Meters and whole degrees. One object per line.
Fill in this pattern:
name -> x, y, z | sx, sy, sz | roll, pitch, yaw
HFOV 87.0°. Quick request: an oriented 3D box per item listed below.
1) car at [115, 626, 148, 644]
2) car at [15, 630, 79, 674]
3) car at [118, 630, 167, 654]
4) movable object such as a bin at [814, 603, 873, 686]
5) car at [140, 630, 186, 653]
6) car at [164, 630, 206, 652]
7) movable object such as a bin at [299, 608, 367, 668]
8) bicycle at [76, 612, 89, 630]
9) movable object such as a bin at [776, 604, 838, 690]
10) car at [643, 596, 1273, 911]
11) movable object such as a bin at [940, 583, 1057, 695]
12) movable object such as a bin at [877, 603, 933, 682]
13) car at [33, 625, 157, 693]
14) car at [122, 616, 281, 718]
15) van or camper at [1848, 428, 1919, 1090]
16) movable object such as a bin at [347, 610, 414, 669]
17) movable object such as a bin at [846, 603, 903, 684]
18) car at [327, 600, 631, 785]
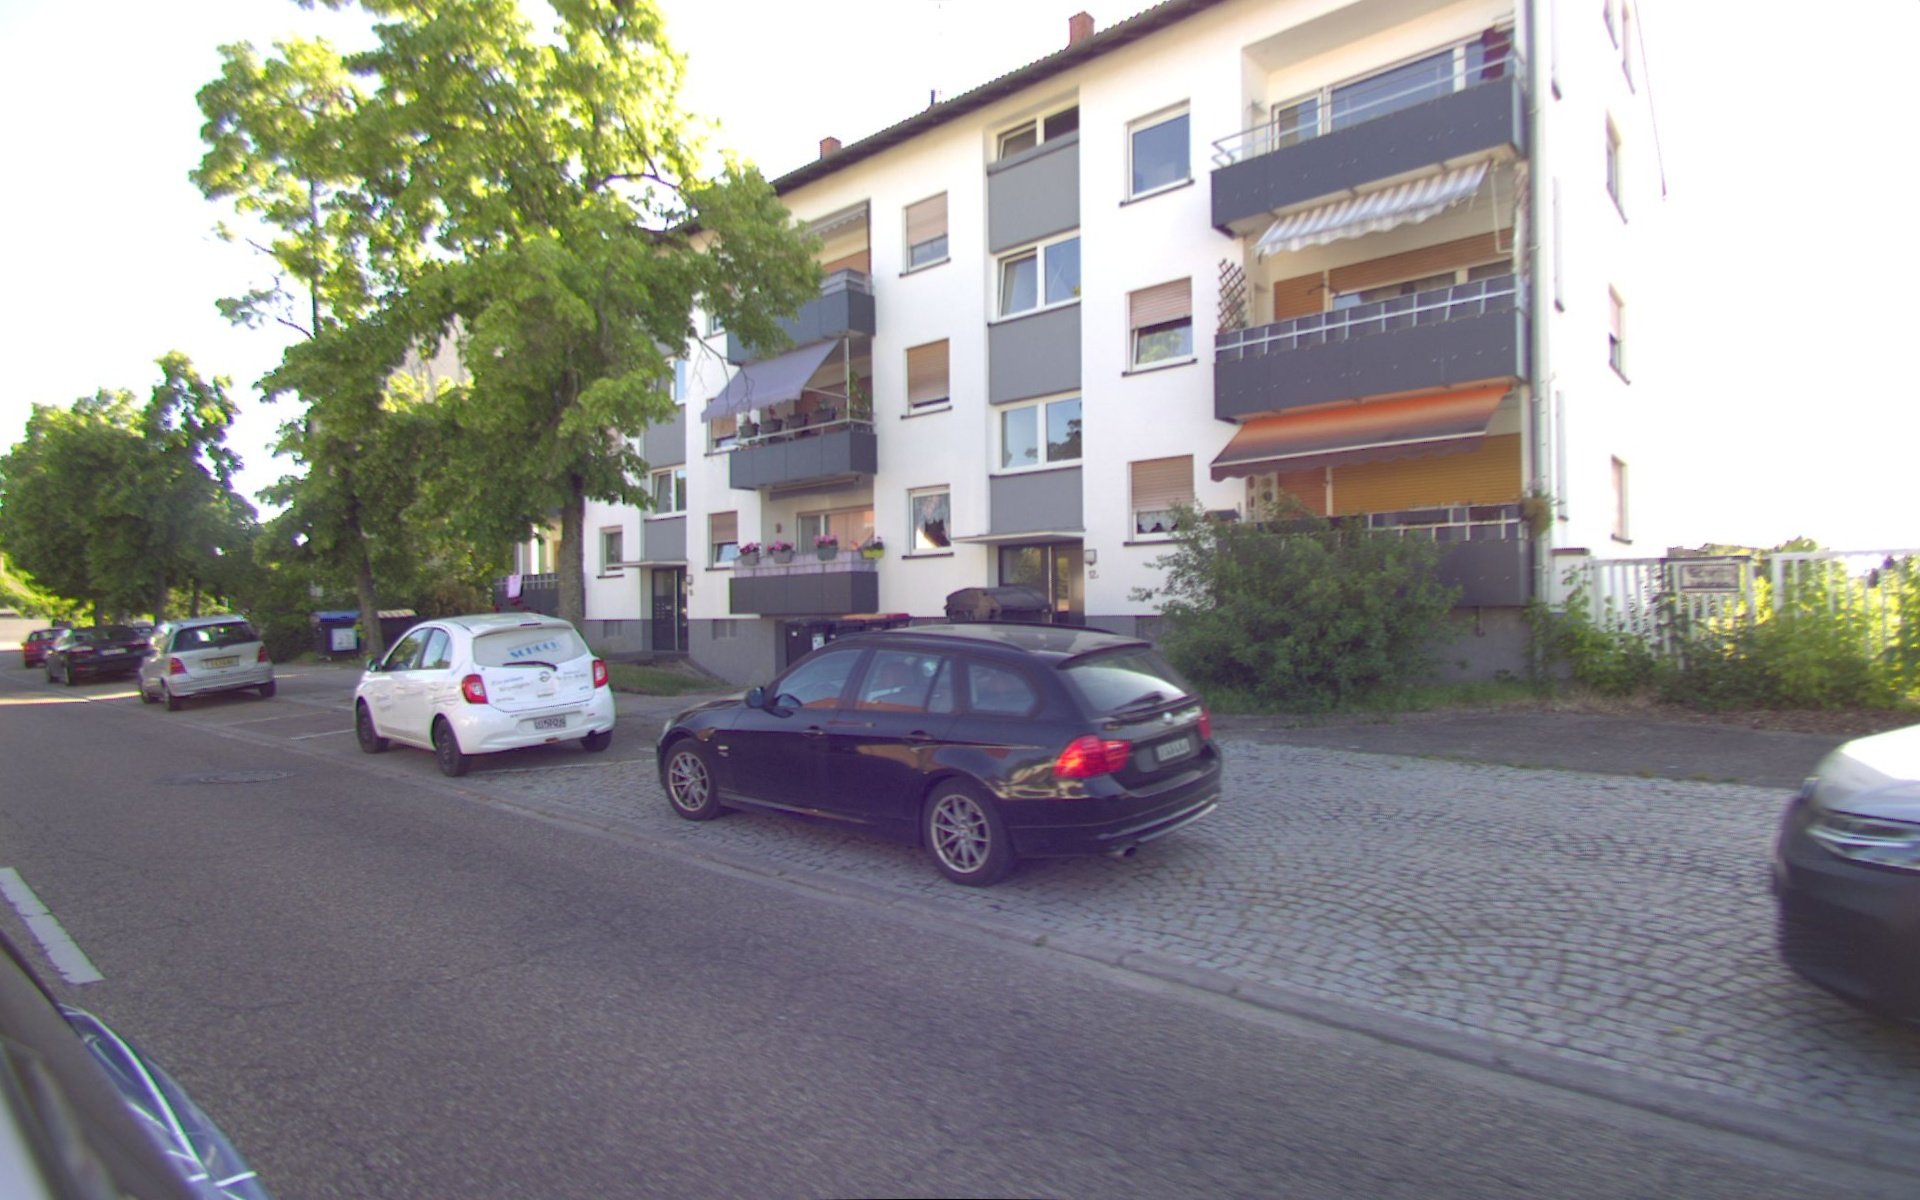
car -> -76.646, 3.276, 93.673 | 1.613, 1.590, 3.715 | 0, -2, -27
car -> -36.226, 2.022, 40.218 | 1.637, 1.505, 3.915 | -4, 1, -40
car -> -55.380, 2.864, 68.644 | 1.624, 1.551, 3.716 | 0, -2, -23
movable object such as a bin -> -1.863, 0.697, 16.176 | 0.672, 1.289, 0.631 | -2, -1, 44
car -> -56.954, 2.960, 72.377 | 1.624, 1.551, 3.716 | 0, -2, -23
car -> -58.900, 3.098, 76.944 | 1.624, 1.551, 3.716 | 0, -2, -23
movable object such as a bin -> -18.083, 1.076, 29.178 | 1.267, 1.675, 1.397 | -2, -1, 43
bicycle -> -50.226, 1.205, 57.934 | 0.352, 1.015, 1.203 | -1, -2, -31
movable object such as a bin -> -2.379, 0.719, 15.749 | 0.672, 1.289, 0.679 | -2, -1, 44
car -> -0.273, 0.796, 6.928 | 4.312, 1.446, 1.592 | -2, 2, 42
movable object such as a bin -> 0.552, 0.536, 14.433 | 1.116, 1.494, 1.217 | -2, -1, 44
movable object such as a bin -> -0.931, 0.705, 17.134 | 0.672, 1.289, 0.631 | -2, -1, 44
car -> -23.520, 1.546, 27.460 | 4.539, 1.504, 1.705 | -2, 4, 40
car -> -14.642, 1.201, 19.459 | 3.909, 1.604, 1.704 | -1, 4, 44
van or camper -> 5.022, 0.398, 2.439 | 4.278, 2.028, 1.858 | -2, 2, 42
movable object such as a bin -> -15.926, 1.077, 27.800 | 1.327, 1.555, 1.276 | -2, -1, 43
movable object such as a bin -> -1.403, 0.706, 16.666 | 0.672, 1.289, 0.631 | -2, -1, 44
car -> -5.380, 0.878, 11.085 | 3.907, 1.577, 1.674 | -2, 2, 44
